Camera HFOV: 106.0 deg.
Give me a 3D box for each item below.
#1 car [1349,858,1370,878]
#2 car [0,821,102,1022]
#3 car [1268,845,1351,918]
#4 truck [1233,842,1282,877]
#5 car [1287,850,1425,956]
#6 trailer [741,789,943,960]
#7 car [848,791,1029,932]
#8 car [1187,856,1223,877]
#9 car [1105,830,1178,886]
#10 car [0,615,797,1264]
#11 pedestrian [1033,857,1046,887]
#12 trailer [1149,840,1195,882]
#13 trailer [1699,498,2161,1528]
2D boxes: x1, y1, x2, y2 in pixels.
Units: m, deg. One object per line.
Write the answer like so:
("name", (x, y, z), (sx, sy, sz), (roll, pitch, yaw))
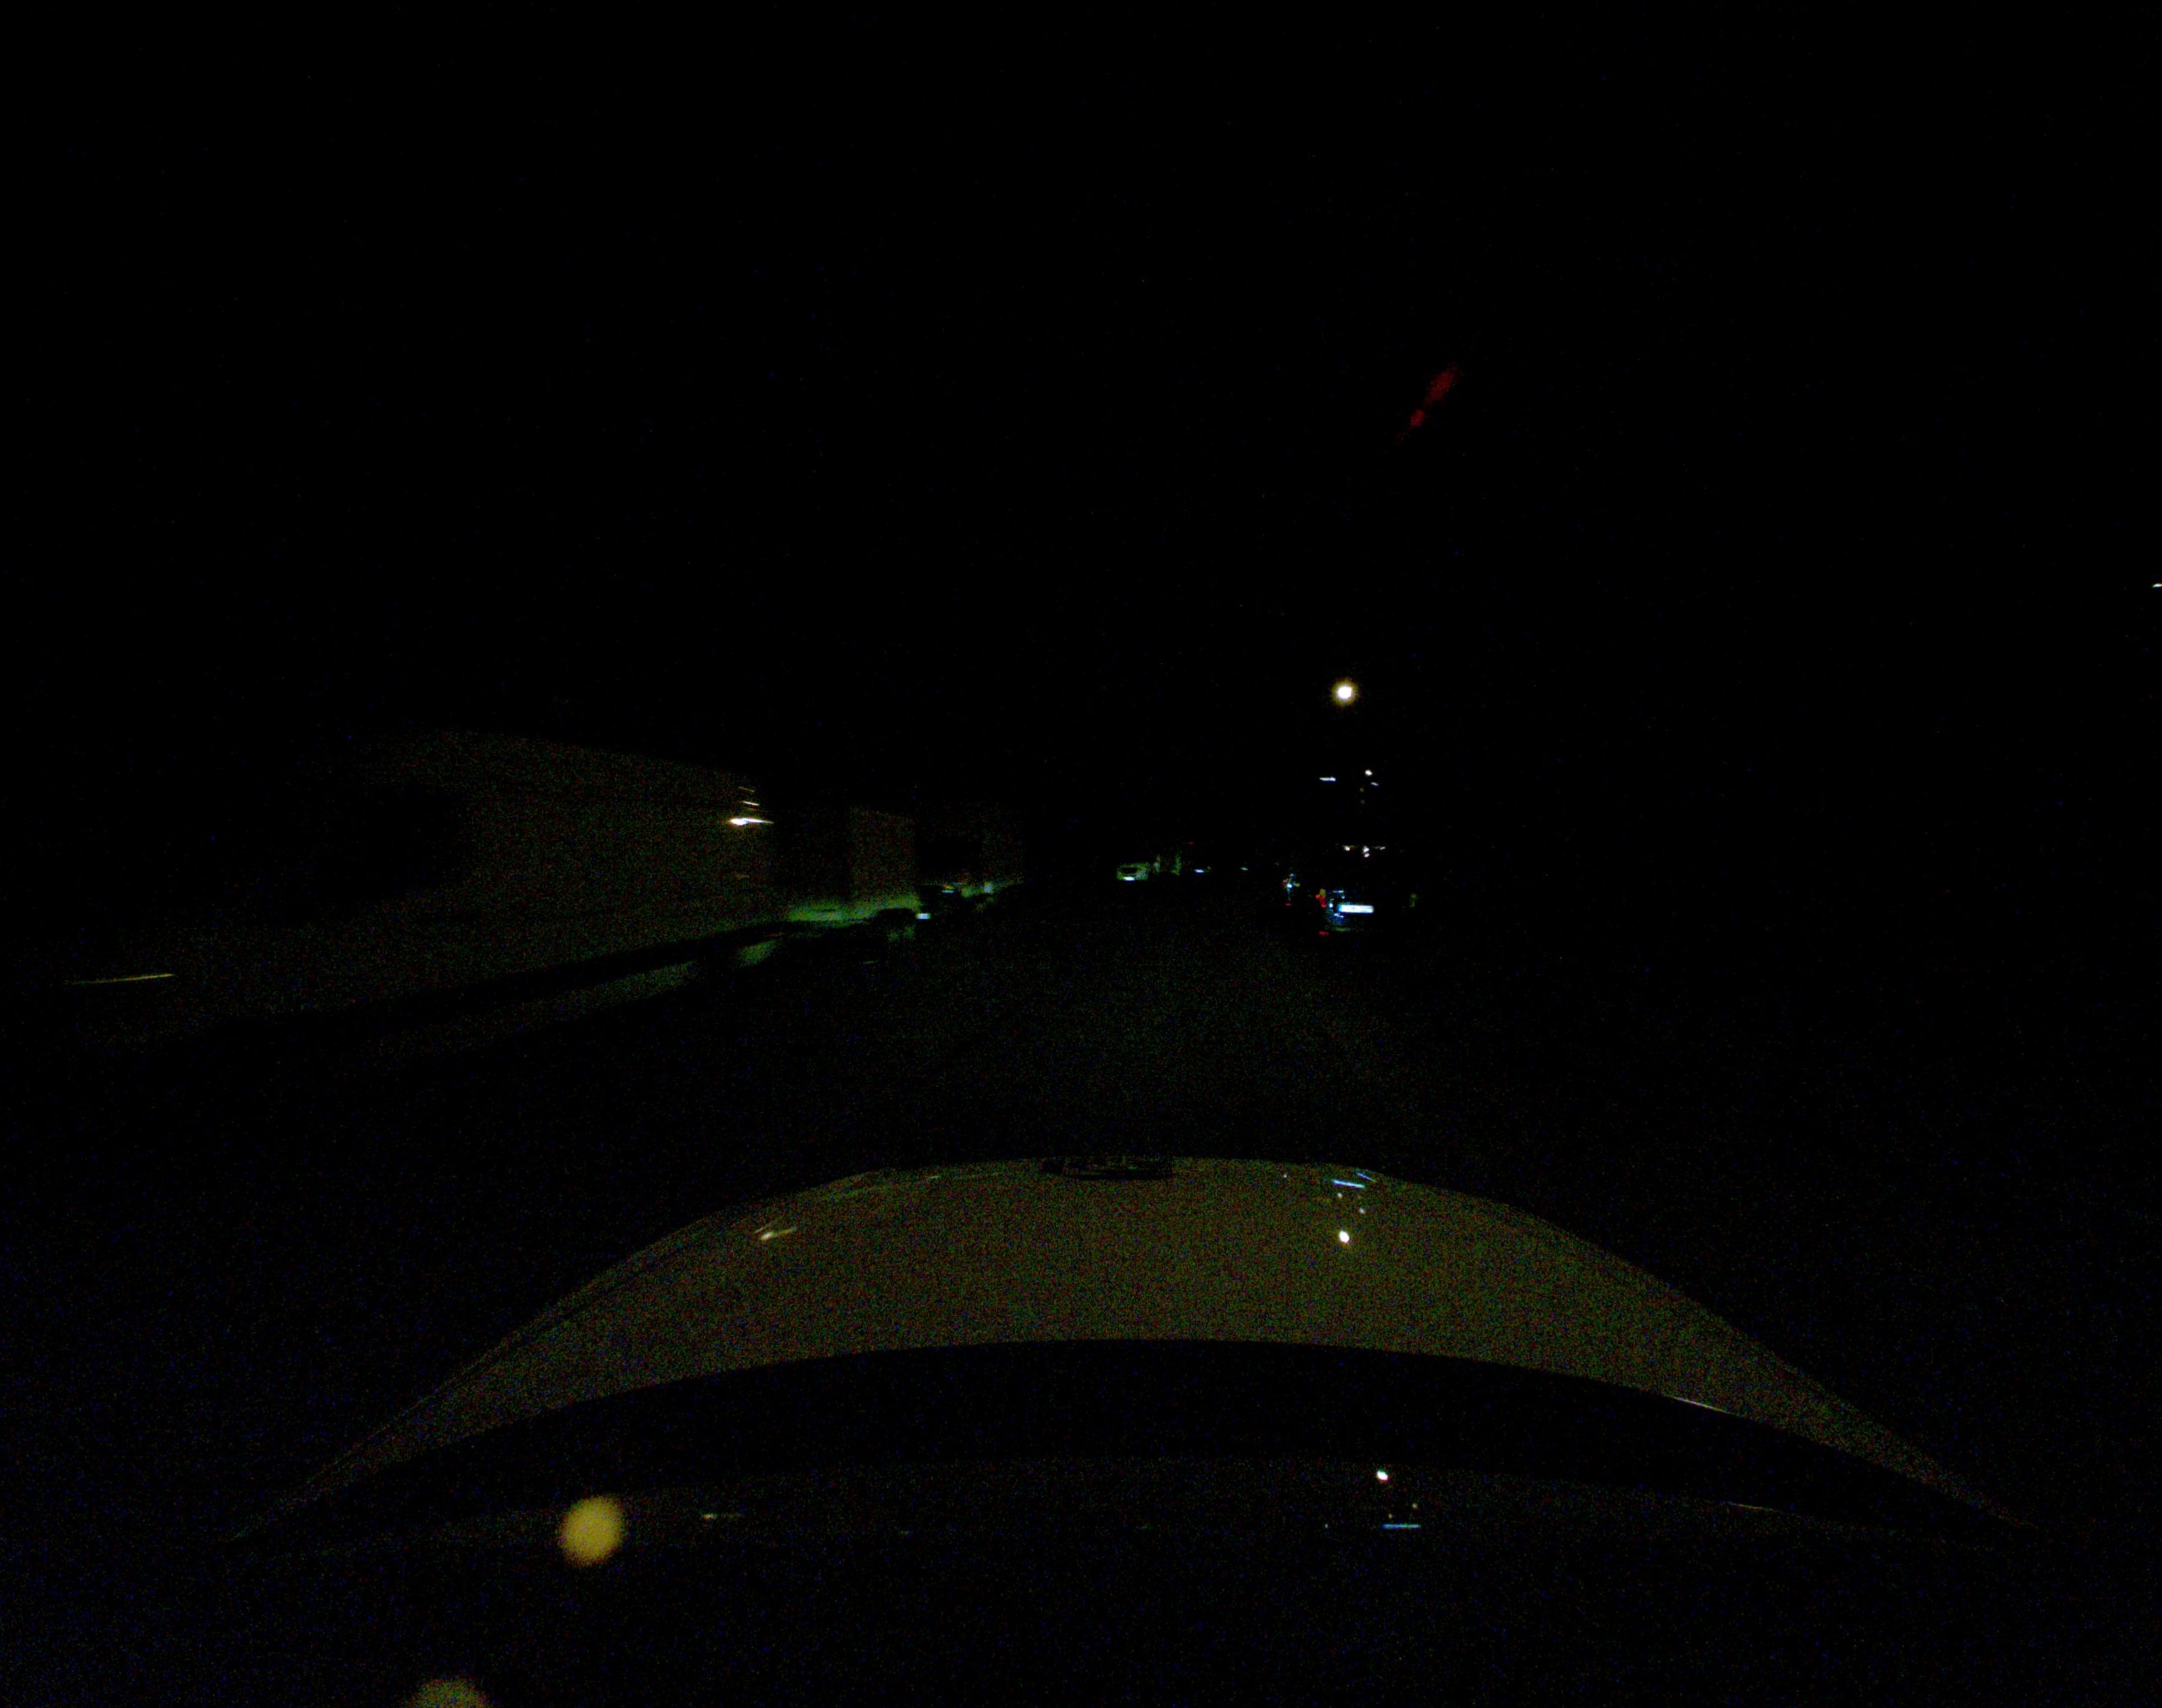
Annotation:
("car", (26.906, 1.363, 78.598), (1.705, 1.821, 4.021), (1, -1, 23))
("car", (-17.356, 0.951, 9.924), (1.974, 2.841, 6.722), (1, 1, 32))
("car", (6.233, 0.720, 22.593), (1.711, 1.821, 4.009), (1, -1, 8))
("truck", (18.163, 0.518, 83.384), (1.974, 3.403, 9.036), (1, 1, 31))
("car", (4.929, 0.802, 15.119), (1.711, 1.661, 4.009), (1, -1, 8))
("trailer", (-3.925, 0.312, 14.074), (1.983, 2.527, 3.575), (-2, 0, 7))
("car", (-3.267, 0.170, 20.885), (2.506, 2.927, 7.215), (-2, 0, 7))
("car", (10.333, 1.052, 67.572), (1.976, 1.699, 4.229), (0, -1, 22))
("car", (3.906, 0.214, 50.647), (2.497, 3.171, 7.175), (-2, 0, 21))
("car", (-5.222, 0.370, 6.790), (2.506, 2.606, 7.103), (-2, 0, 6))
("pedestrian", (-2.332, 0.985, 45.664), (0.675, 1.652, 0.651), (-1, 1, -11))
("trailer", (6.397, 0.450, 56.794), (1.976, 2.813, 4.728), (0, 1, 22))
("trailer", (3.569, 0.293, 0.369), (1.564, 2.160, 5.186), (-1, -1, -20))
